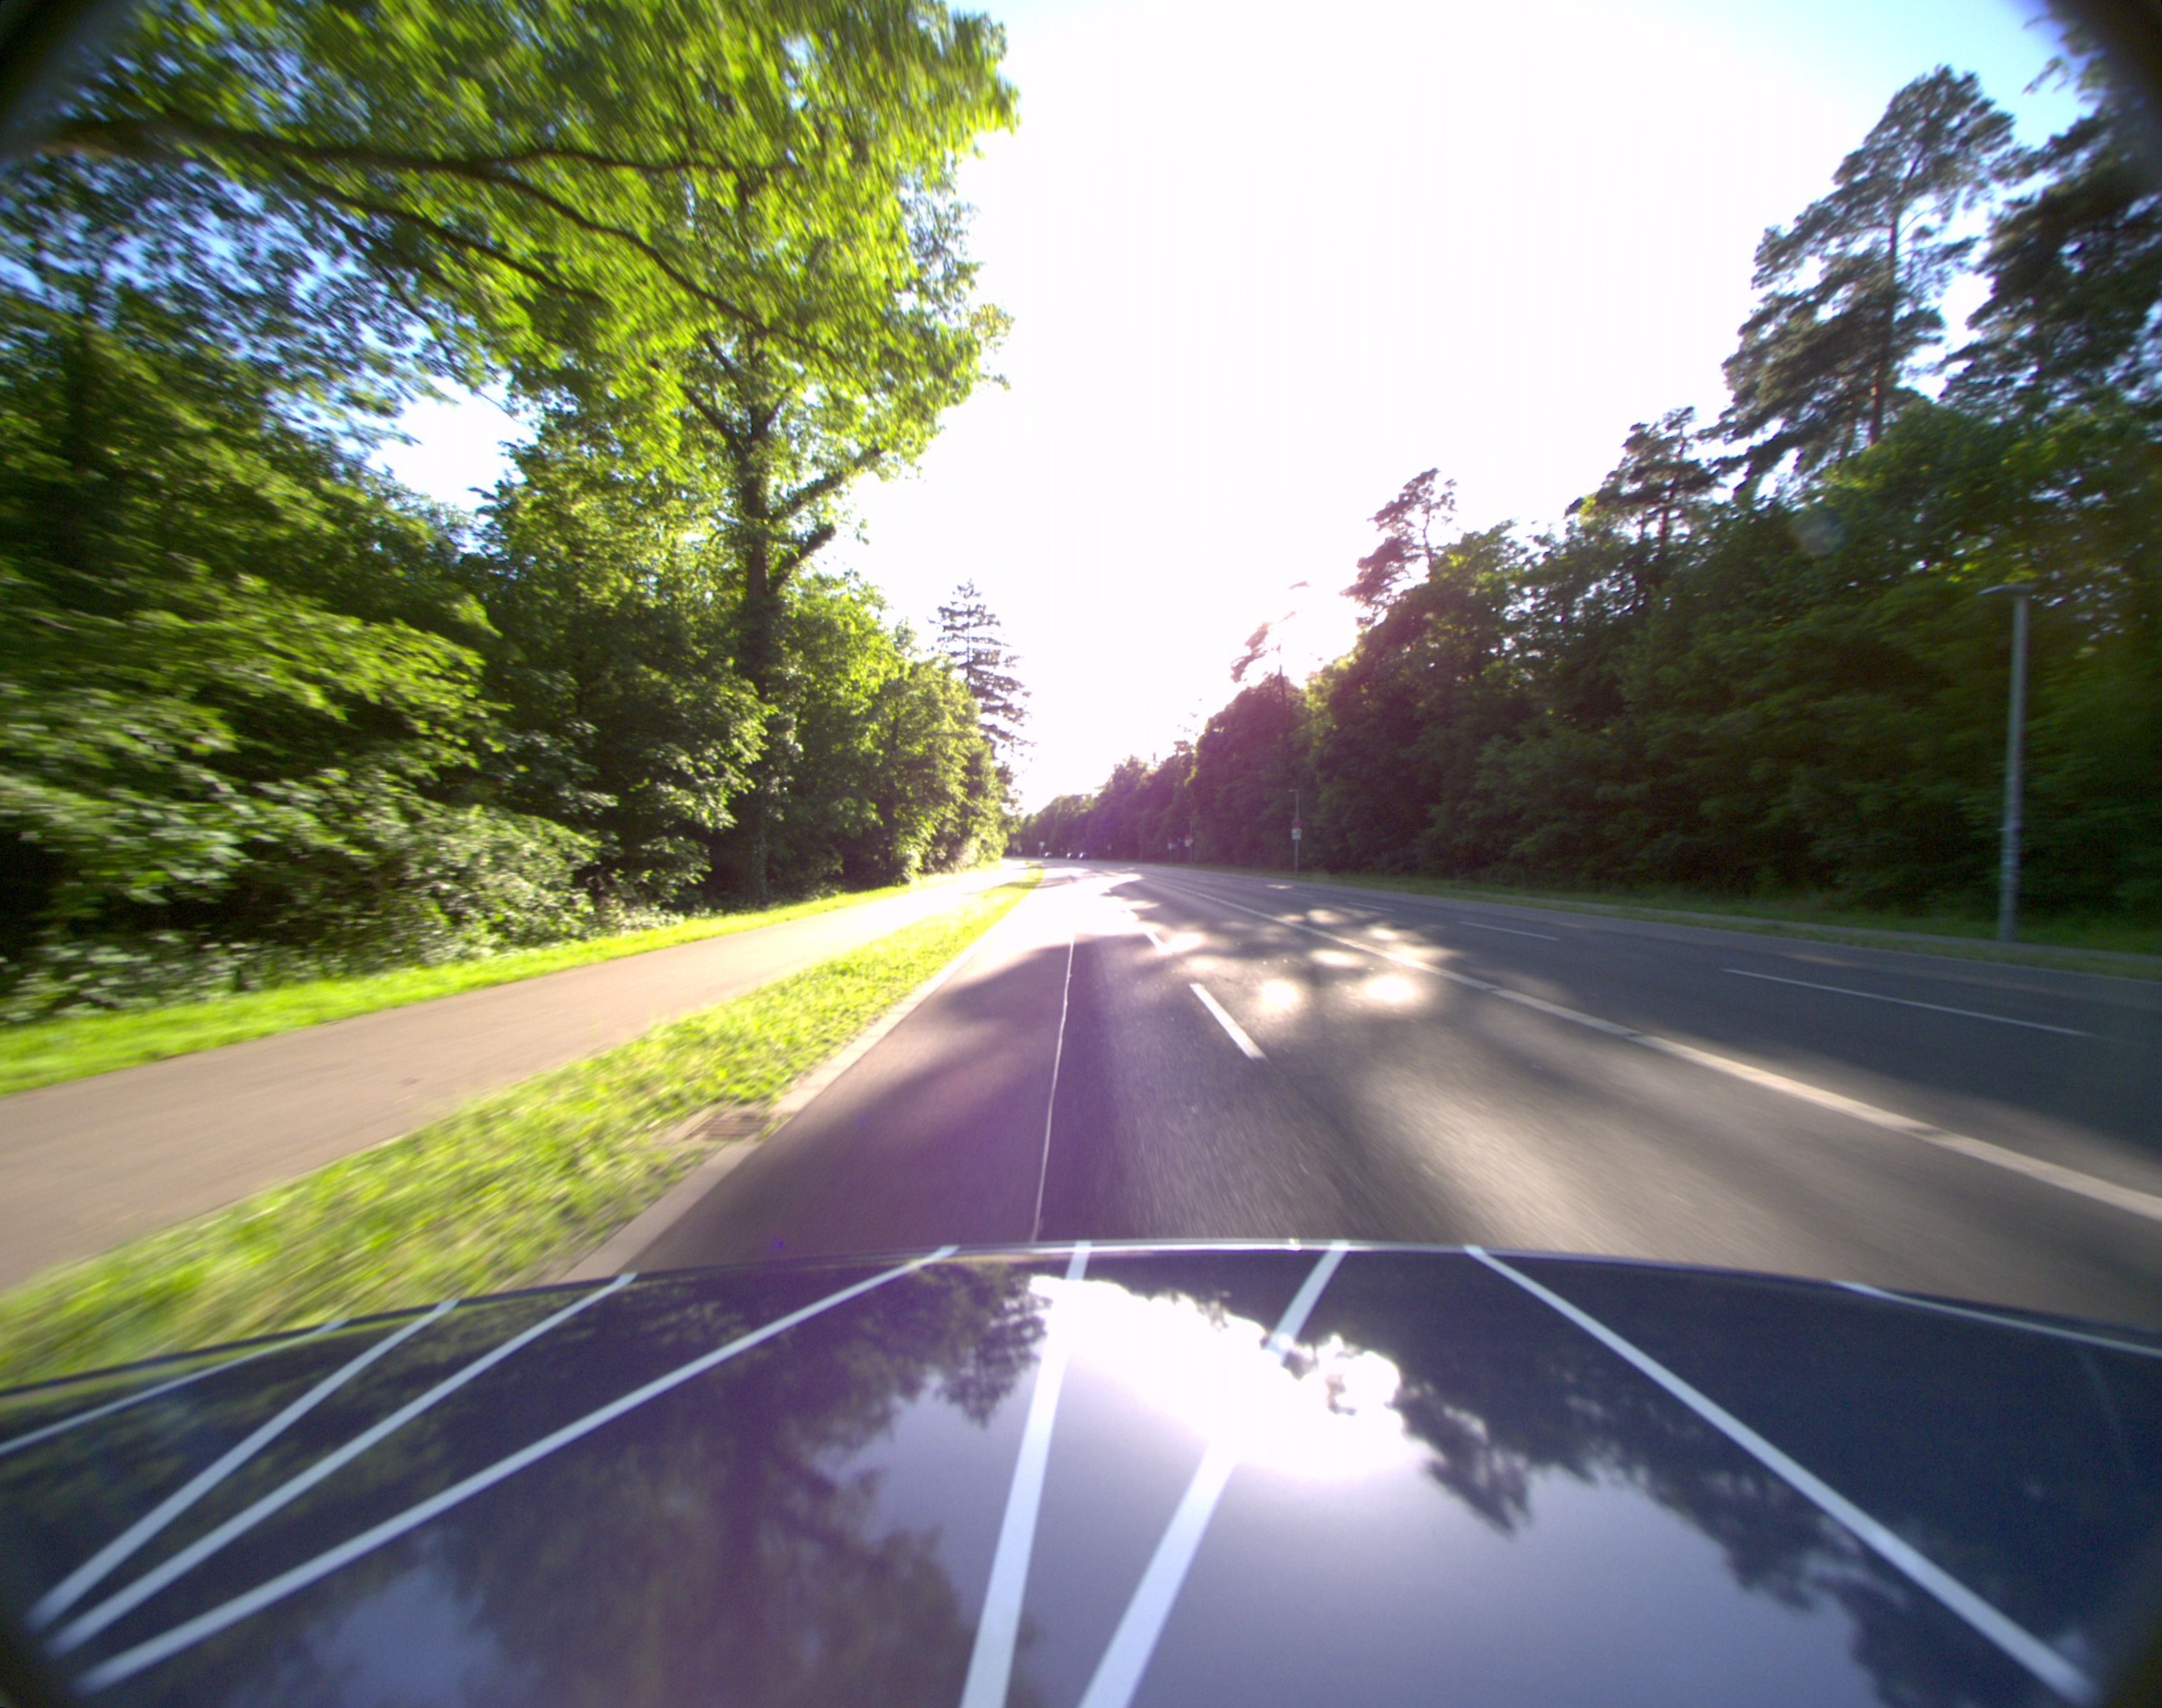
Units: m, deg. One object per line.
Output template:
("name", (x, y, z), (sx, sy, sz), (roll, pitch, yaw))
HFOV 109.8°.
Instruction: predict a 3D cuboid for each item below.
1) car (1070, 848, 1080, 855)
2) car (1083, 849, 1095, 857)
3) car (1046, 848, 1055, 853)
("car", (-1.432, -0.532, 172.232), (1.744, 1.449, 3.996), (-3, 1, -7))
("car", (1.567, -0.169, 153.795), (1.663, 1.472, 4.168), (-2, 0, -10))
("car", (-8.475, -0.988, 213.261), (1.902, 1.601, 4.445), (-1, 1, -10))
